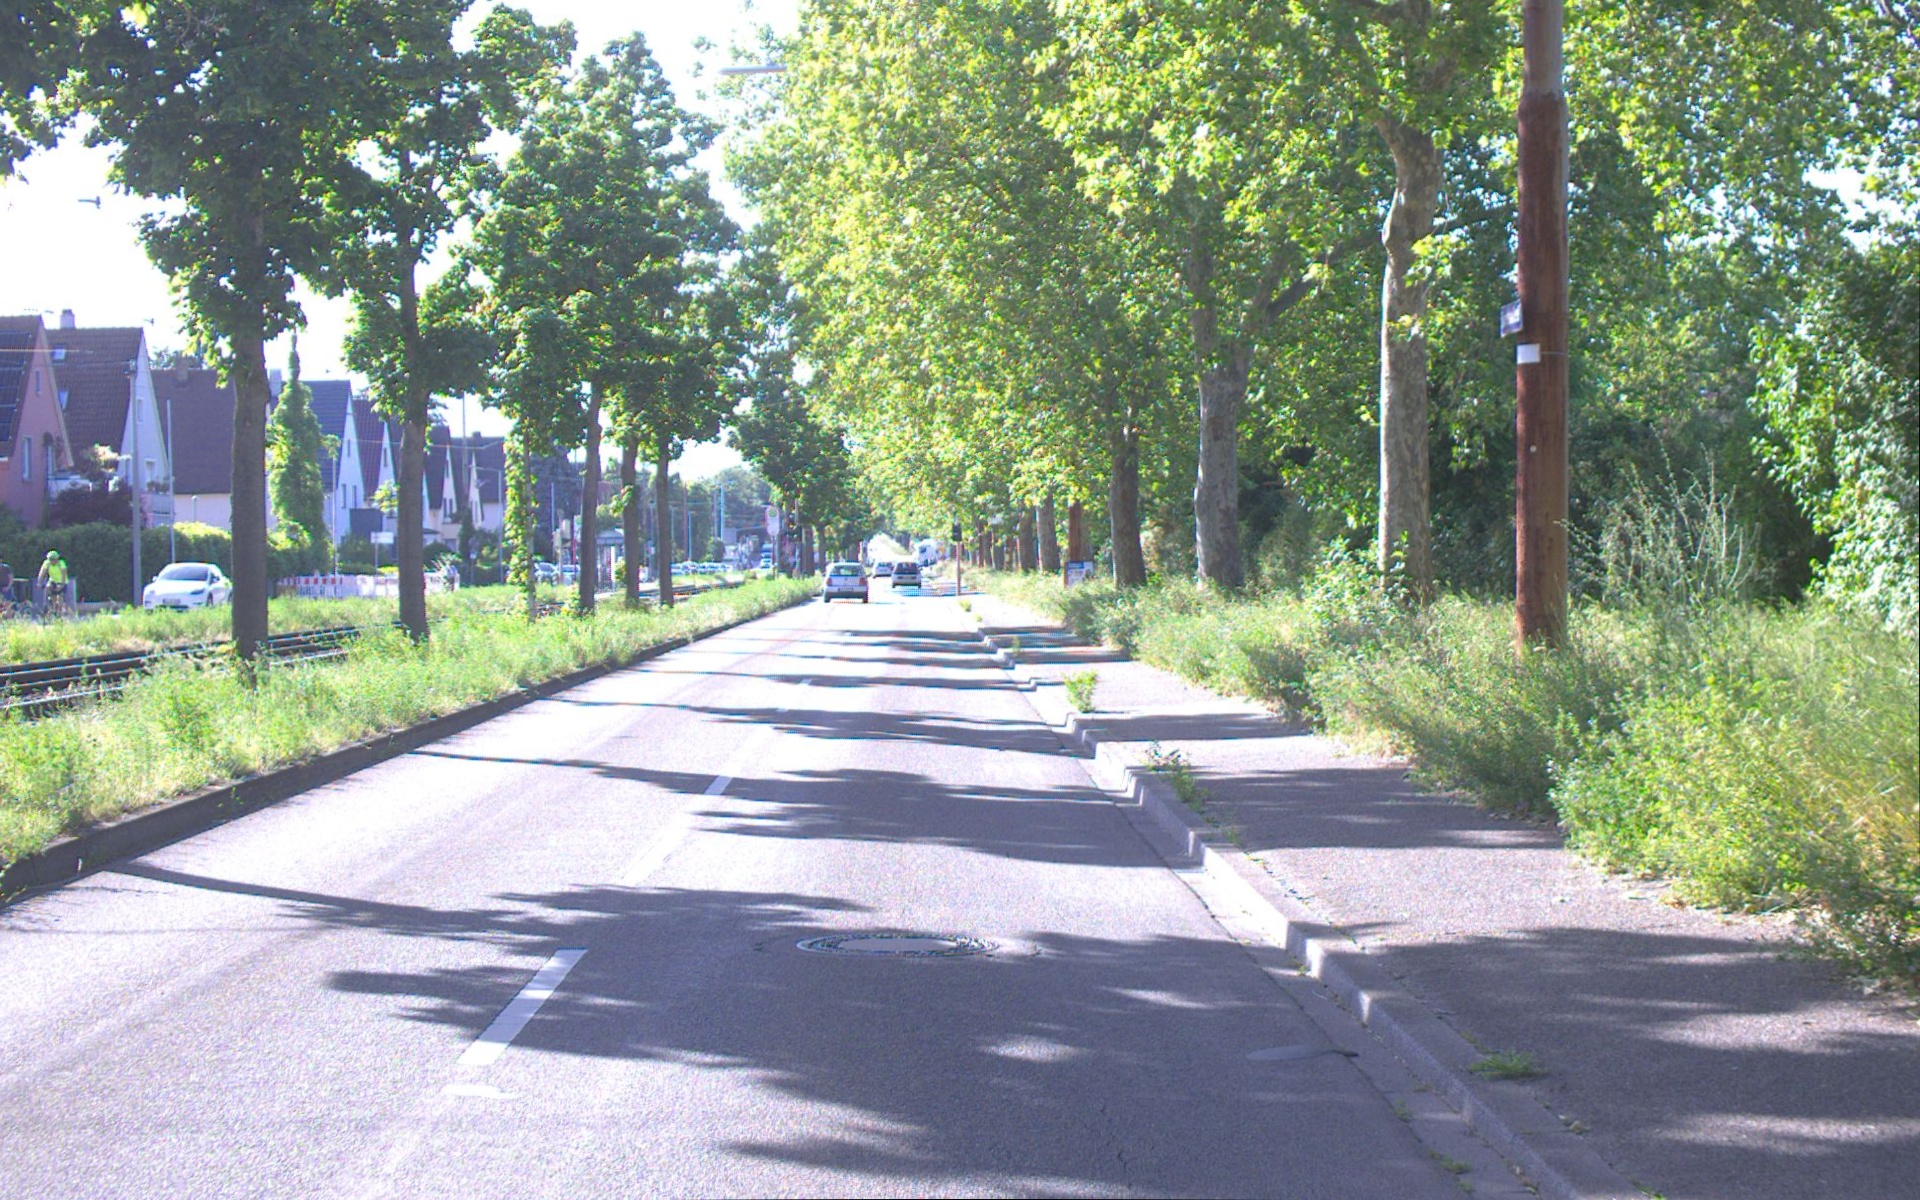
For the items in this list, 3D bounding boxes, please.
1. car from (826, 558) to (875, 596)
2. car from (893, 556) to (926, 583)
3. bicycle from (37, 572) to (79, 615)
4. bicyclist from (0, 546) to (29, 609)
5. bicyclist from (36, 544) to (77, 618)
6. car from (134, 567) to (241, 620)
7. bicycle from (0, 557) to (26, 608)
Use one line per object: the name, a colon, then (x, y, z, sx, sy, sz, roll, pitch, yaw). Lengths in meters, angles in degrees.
car: (-3.982, -0.840, 125.859, 1.738, 1.396, 3.277, 0, 0, -1)
car: (-2.831, -1.710, 192.643, 1.761, 1.508, 3.277, 0, 0, 0)
bicycle: (-20.251, -0.157, 77.190, 0.398, 0.924, 2.096, -1, 1, 0)
bicyclist: (-20.212, -0.478, 72.941, 0.688, 1.332, 0.881, -1, 1, -1)
bicyclist: (-20.258, -0.435, 77.087, 0.688, 1.646, 0.881, -1, 1, -1)
car: (-23.467, -0.205, 104.635, 1.994, 1.593, 4.731, 0, 0, 3)
bicycle: (-20.219, -0.370, 72.739, 0.398, 1.066, 1.880, -1, 1, 0)
